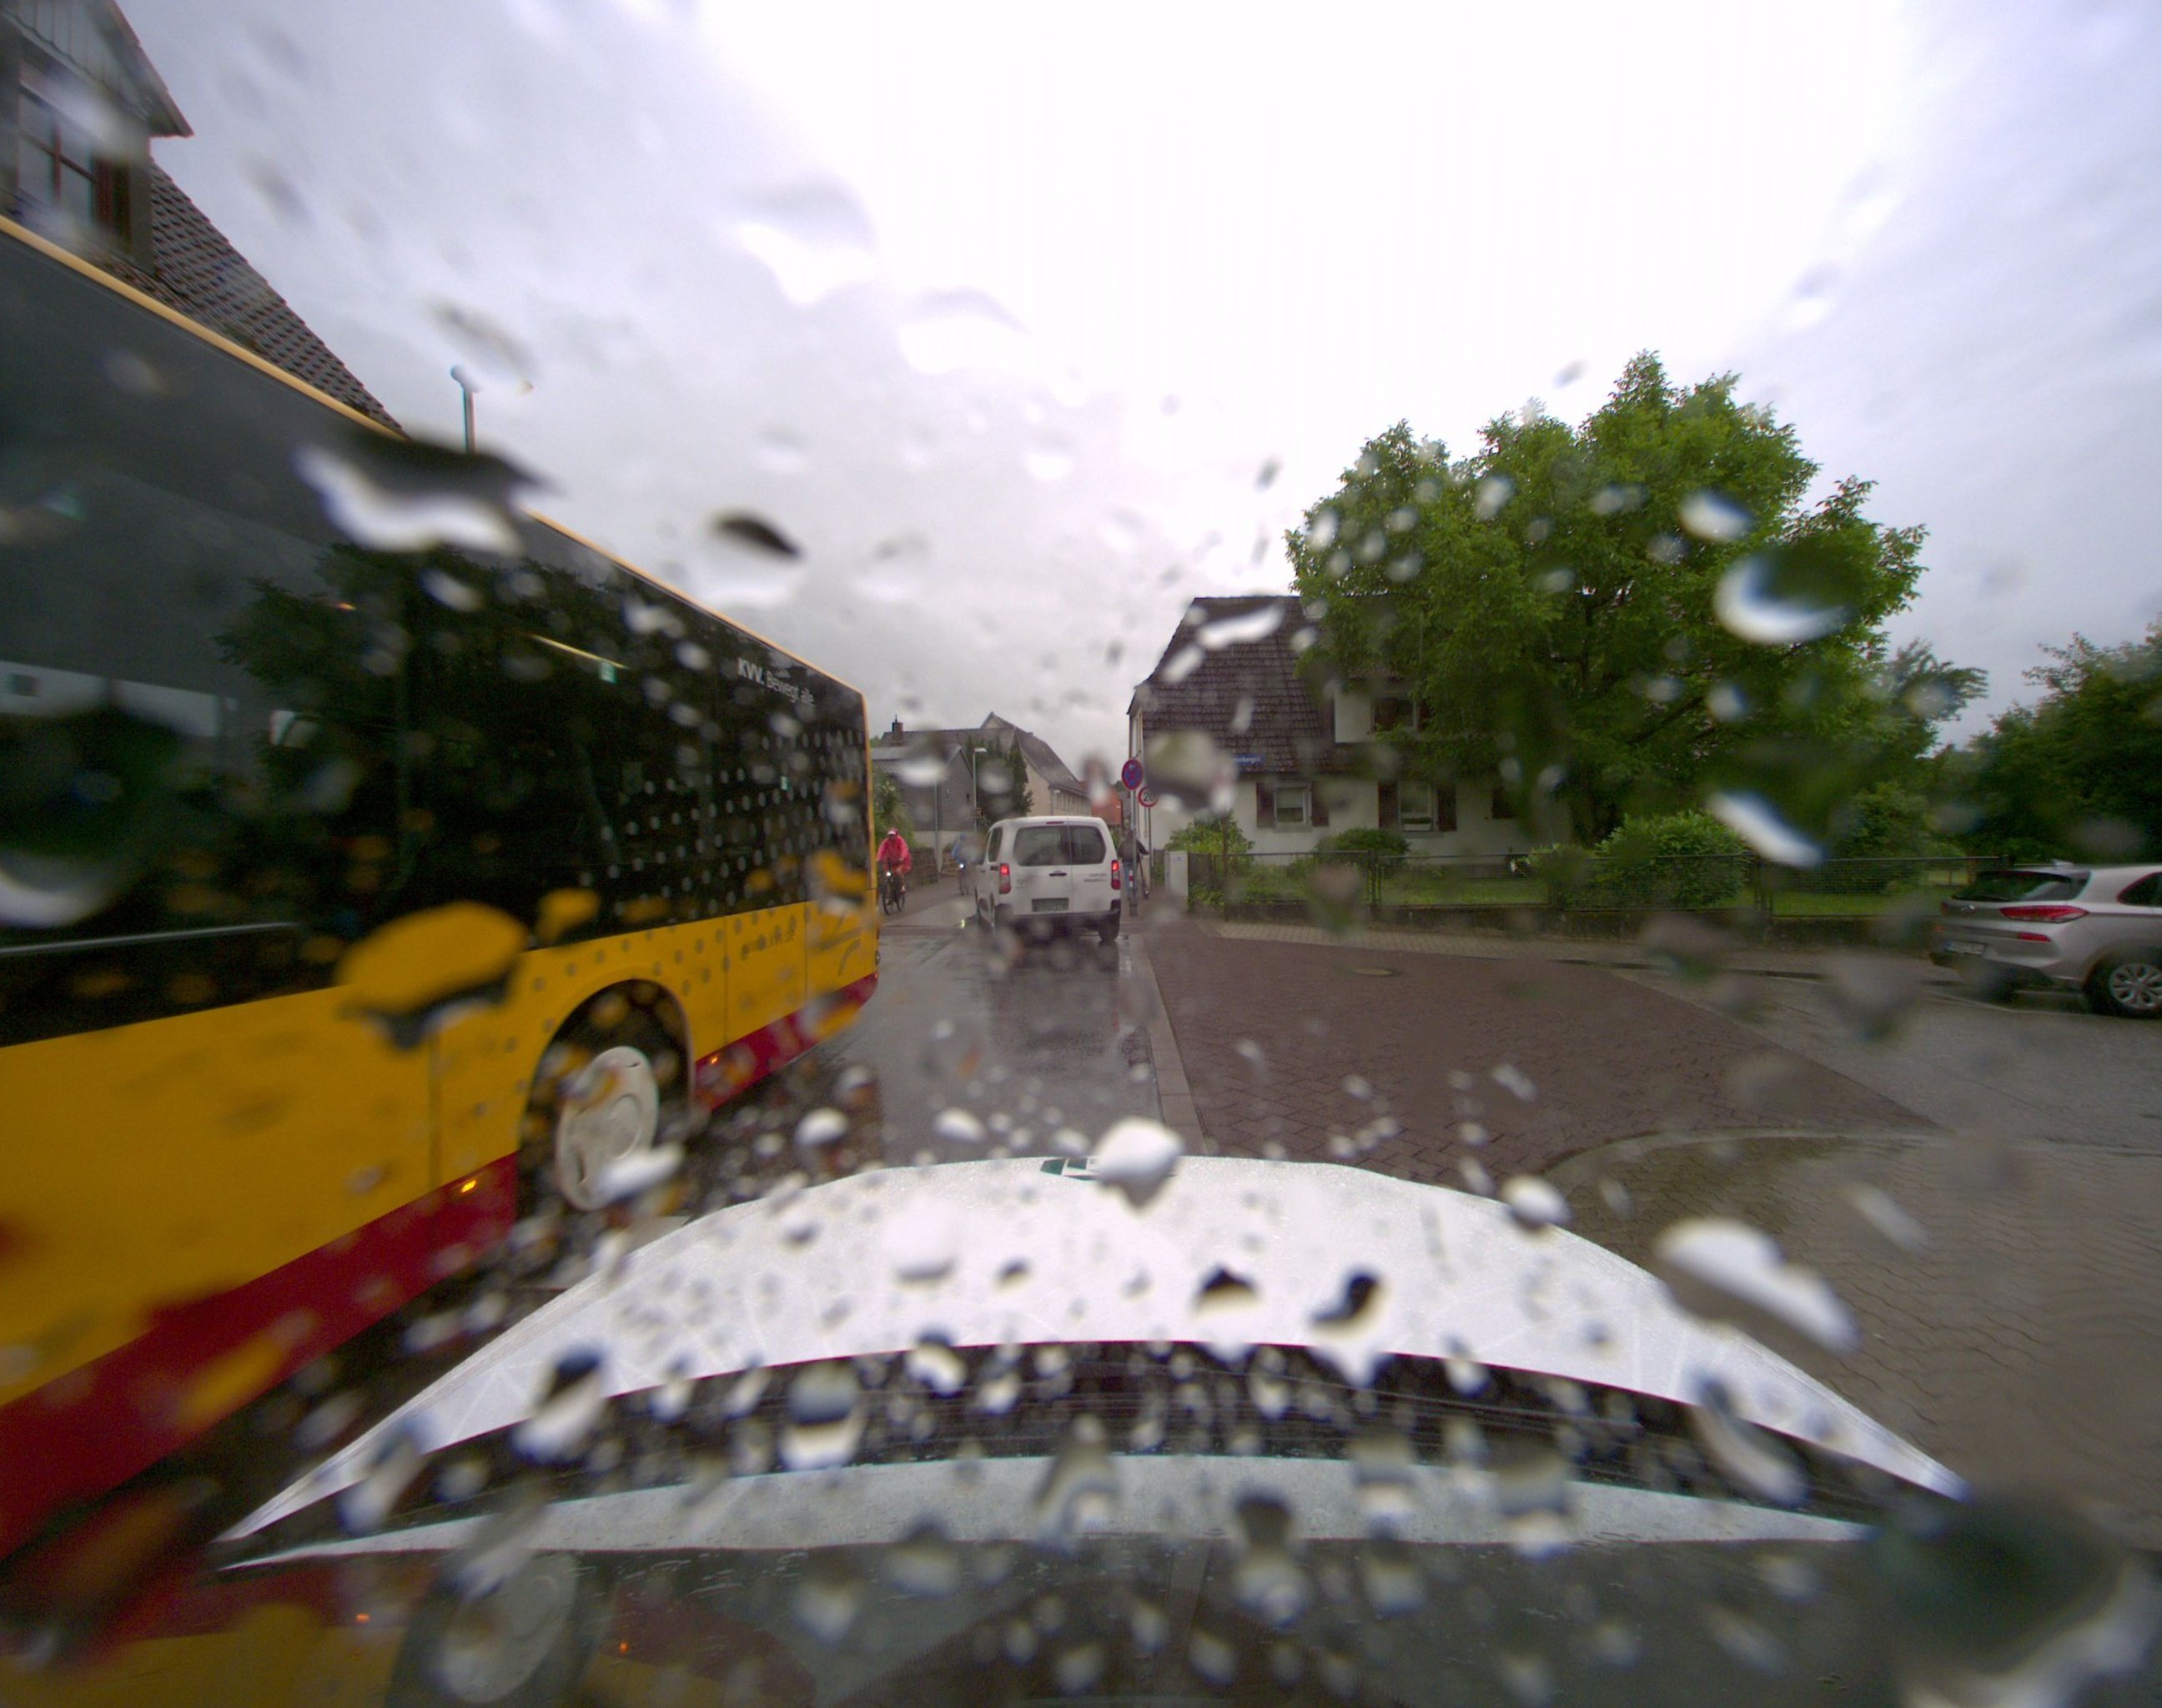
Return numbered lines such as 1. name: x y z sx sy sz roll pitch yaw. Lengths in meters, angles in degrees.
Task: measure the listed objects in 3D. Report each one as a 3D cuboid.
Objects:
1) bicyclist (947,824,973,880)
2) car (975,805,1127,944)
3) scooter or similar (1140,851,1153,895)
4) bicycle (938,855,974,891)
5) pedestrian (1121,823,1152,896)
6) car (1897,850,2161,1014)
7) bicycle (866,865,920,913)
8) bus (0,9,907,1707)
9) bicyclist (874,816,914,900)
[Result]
1. bicyclist: -3.740 -0.049 25.282 0.685 1.713 0.703 0 0 1
2. car: -0.638 0.280 12.835 1.796 1.819 4.086 0 0 -11
3. scooter or similar: 1.587 0.452 19.805 0.244 1.028 1.100 0 1 1
4. bicycle: -3.847 0.556 25.210 0.678 1.051 2.339 0 0 1
5. pedestrian: 1.339 0.129 19.846 0.692 1.732 0.821 0 1 1
6. car: 11.100 0.719 8.019 3.956 1.471 1.801 0 1 17
7. bicycle: -4.011 0.724 17.543 0.659 0.870 1.936 0 3 1
8. bus: -3.241 0.092 0.576 2.793 2.938 11.956 0 1 4
9. bicyclist: -4.011 0.078 17.526 0.654 1.769 0.704 0 2 1
